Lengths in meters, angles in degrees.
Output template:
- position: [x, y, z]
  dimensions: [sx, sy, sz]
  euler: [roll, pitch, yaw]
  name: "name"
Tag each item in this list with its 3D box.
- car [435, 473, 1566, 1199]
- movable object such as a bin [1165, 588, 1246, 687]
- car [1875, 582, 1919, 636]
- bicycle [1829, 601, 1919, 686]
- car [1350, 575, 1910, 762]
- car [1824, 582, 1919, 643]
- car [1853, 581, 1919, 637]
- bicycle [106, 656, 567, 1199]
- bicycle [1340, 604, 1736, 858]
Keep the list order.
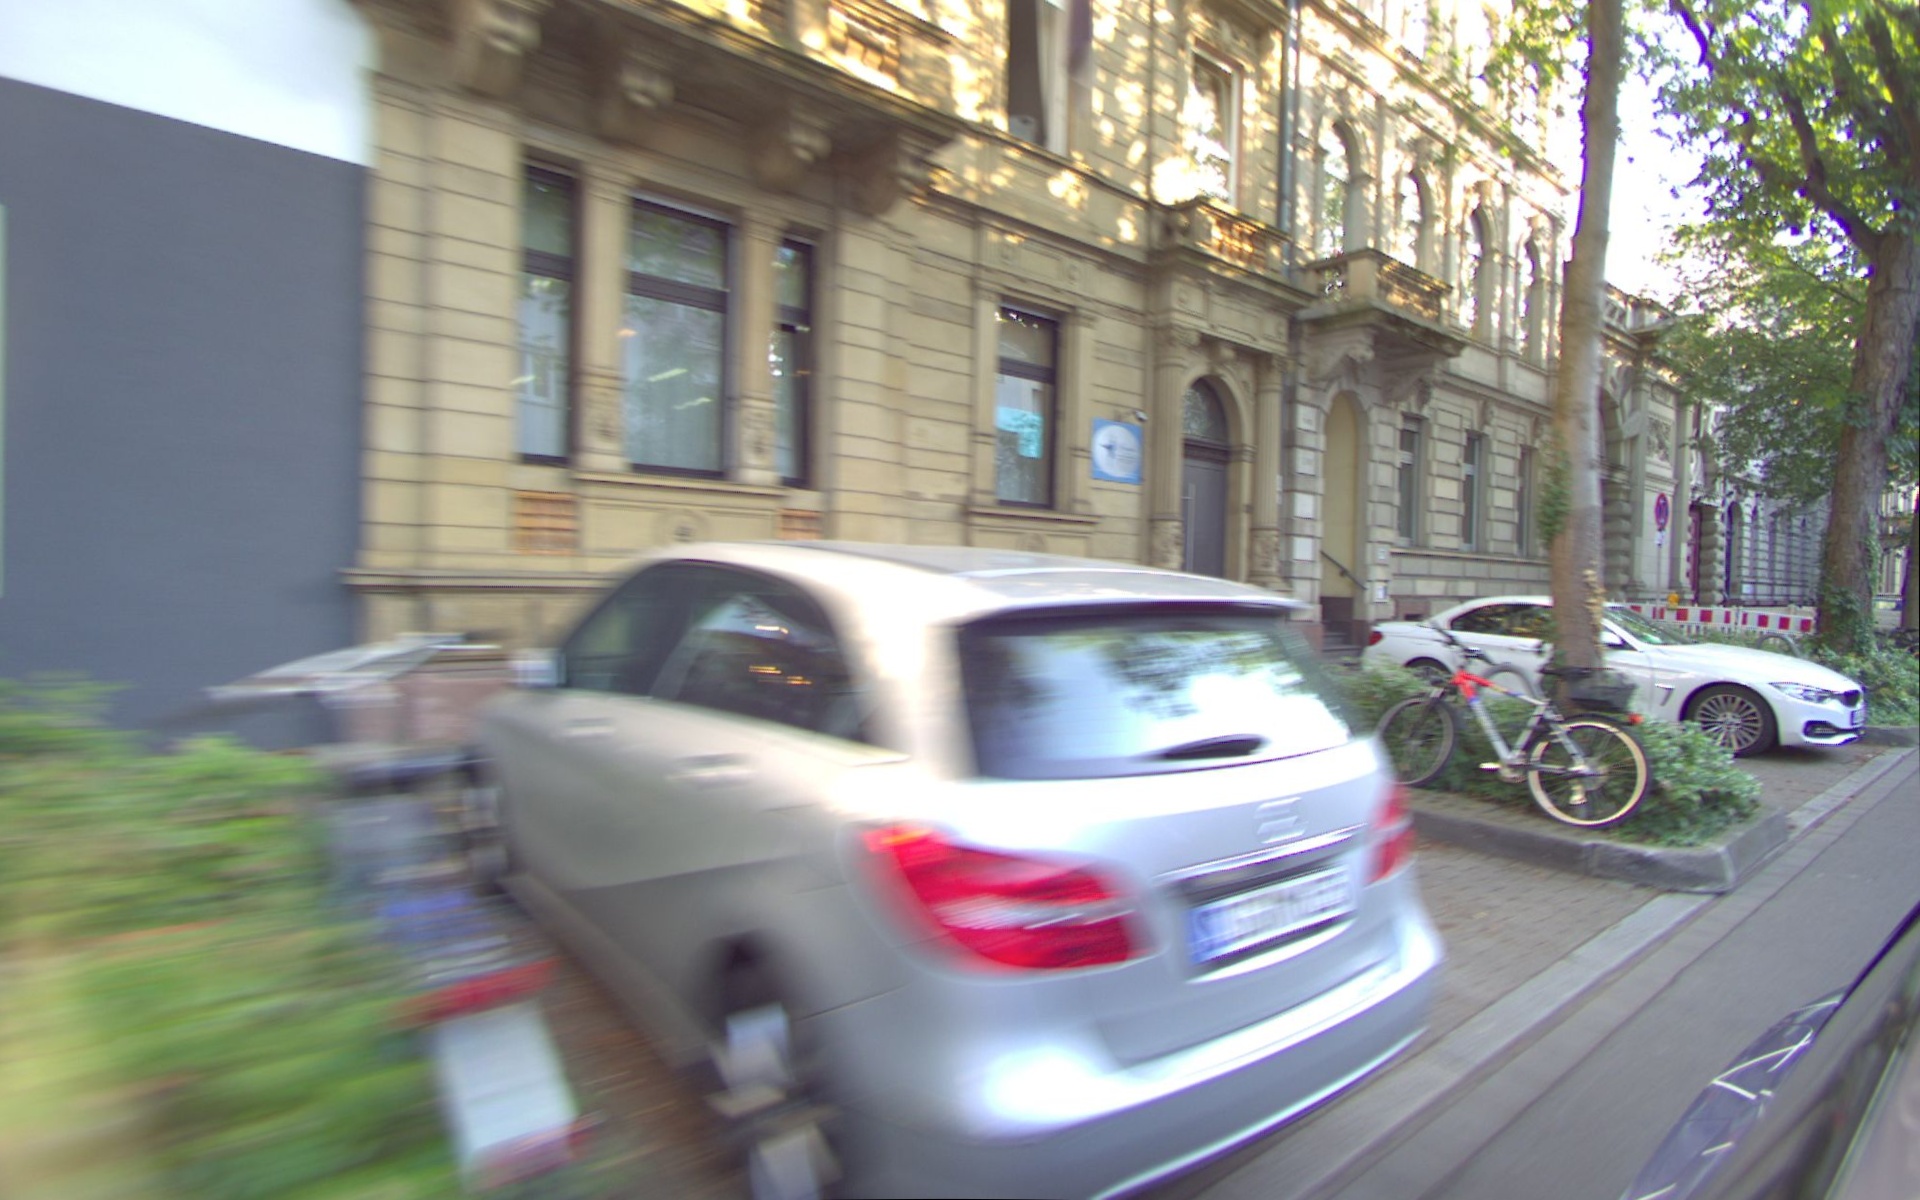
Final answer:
- position: [-0.480, 0.517, 3.758]
  dimensions: [1.934, 1.579, 4.238]
  euler: [1, 2, -37]
  name: "car"
- position: [2.837, 0.413, 11.709]
  dimensions: [0.604, 1.077, 0.659]
  euler: [-1, 3, -40]
  name: "movable object such as a bin"
- position: [33.080, 0.374, 33.052]
  dimensions: [1.933, 1.738, 4.451]
  euler: [-1, 4, -40]
  name: "car"
- position: [15.800, 0.712, 16.793]
  dimensions: [0.499, 1.378, 2.049]
  euler: [1, 0, -42]
  name: "bicycle"
- position: [6.805, 0.524, 10.793]
  dimensions: [1.890, 1.455, 4.596]
  euler: [0, 2, -38]
  name: "car"
- position: [26.291, 0.398, 27.292]
  dimensions: [1.822, 1.498, 4.235]
  euler: [0, 4, -40]
  name: "car"
- position: [30.929, 0.325, 31.838]
  dimensions: [1.733, 1.708, 4.017]
  euler: [1, 2, -40]
  name: "car"
- position: [-1.172, 0.777, 1.765]
  dimensions: [0.480, 1.219, 1.340]
  euler: [0, 3, -40]
  name: "bicycle"
- position: [3.479, 0.711, 6.253]
  dimensions: [2.016, 1.218, 0.482]
  euler: [5, 3, 38]
  name: "bicycle"
